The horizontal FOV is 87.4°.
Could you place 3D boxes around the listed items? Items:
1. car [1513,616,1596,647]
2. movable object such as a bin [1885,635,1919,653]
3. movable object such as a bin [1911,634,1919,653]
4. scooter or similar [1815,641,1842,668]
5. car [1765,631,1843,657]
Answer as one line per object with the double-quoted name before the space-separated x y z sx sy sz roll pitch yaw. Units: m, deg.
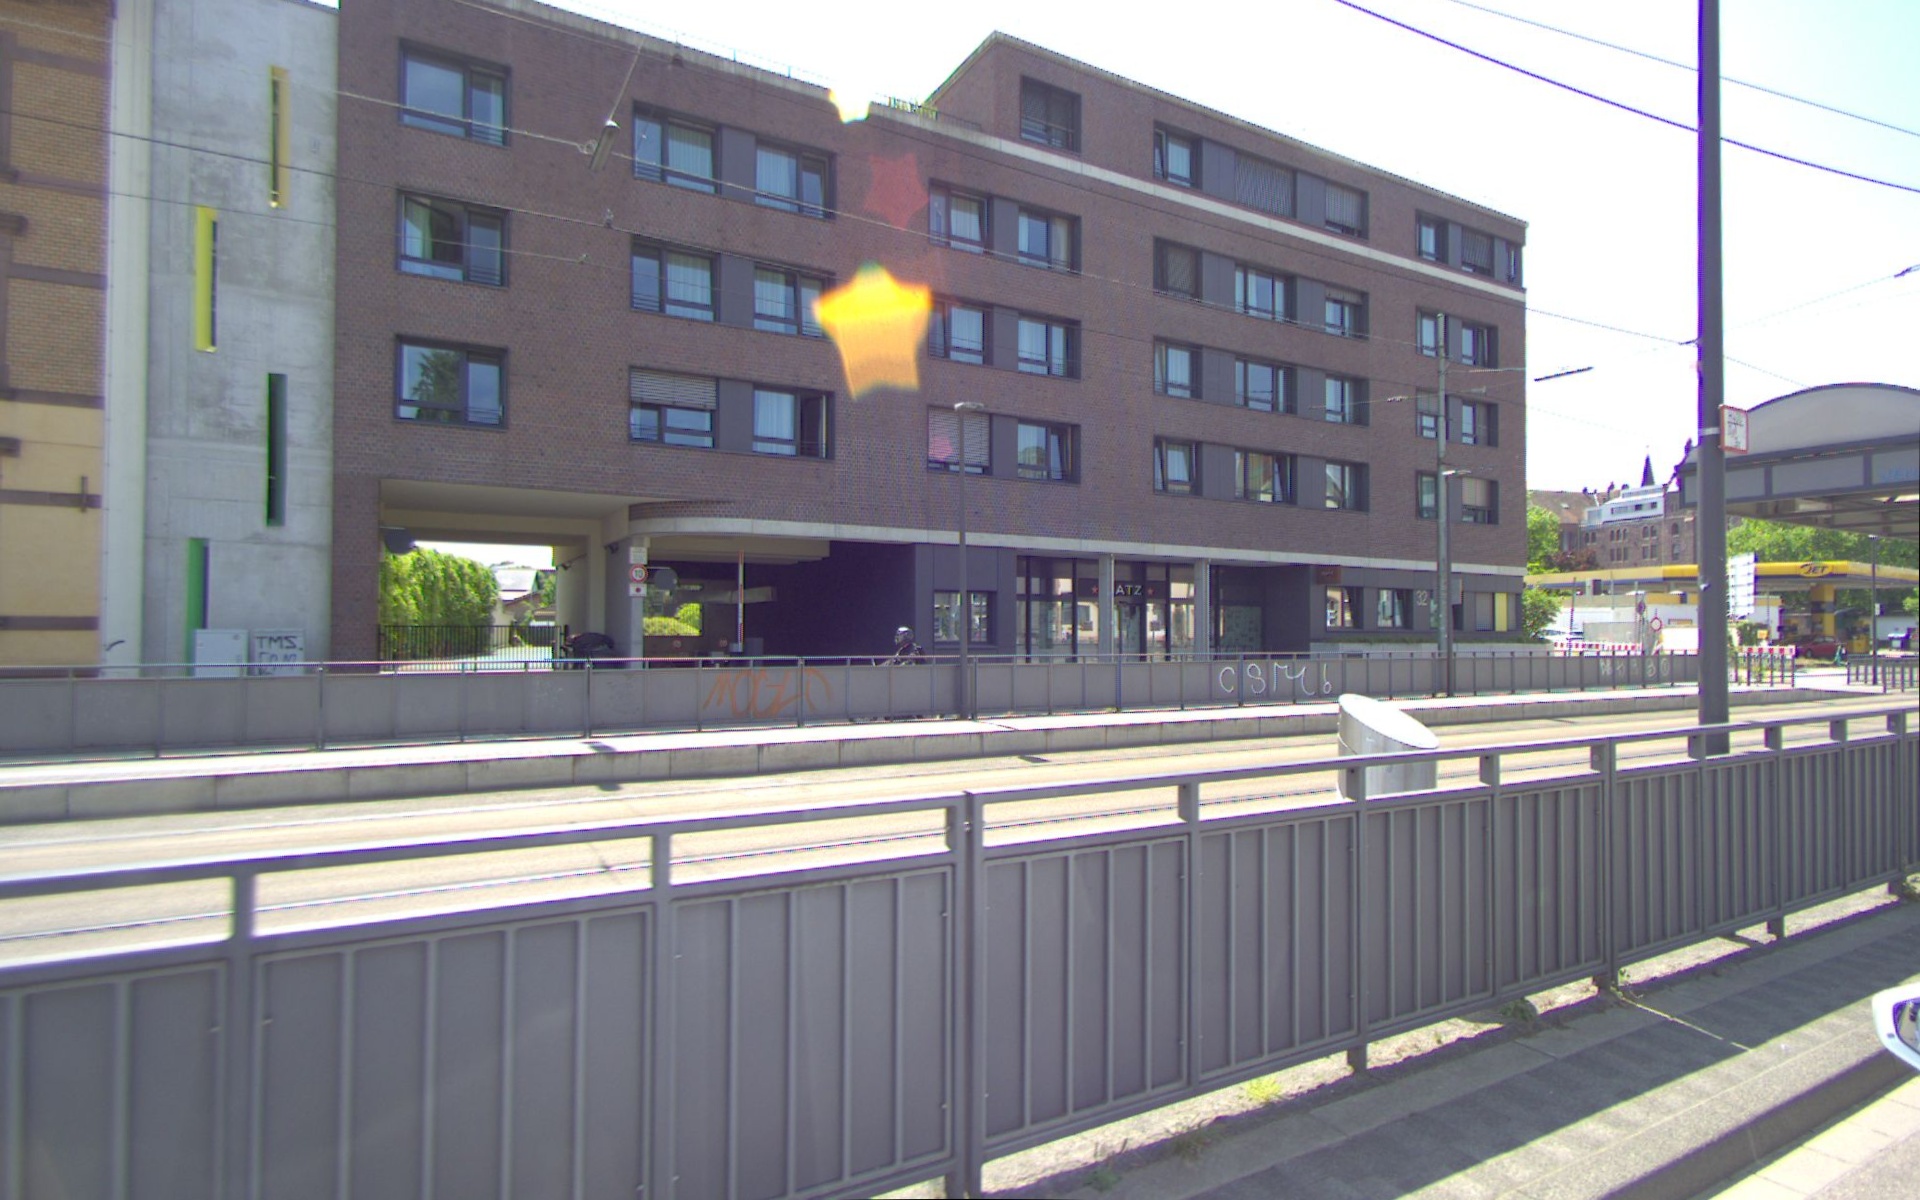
"car" 35.840 1.881 60.679 1.859 1.769 4.266 1 0 -13
"movable object such as a bin" 78.866 3.700 83.878 2.063 1.451 1.522 1 0 -13
"movable object such as a bin" 79.278 3.564 81.988 2.063 1.529 1.522 1 0 -13
"scooter or similar" 42.897 2.679 49.609 1.220 1.281 0.345 1 0 -13
"car" 54.355 2.800 64.715 4.128 1.525 1.826 0 1 -14
